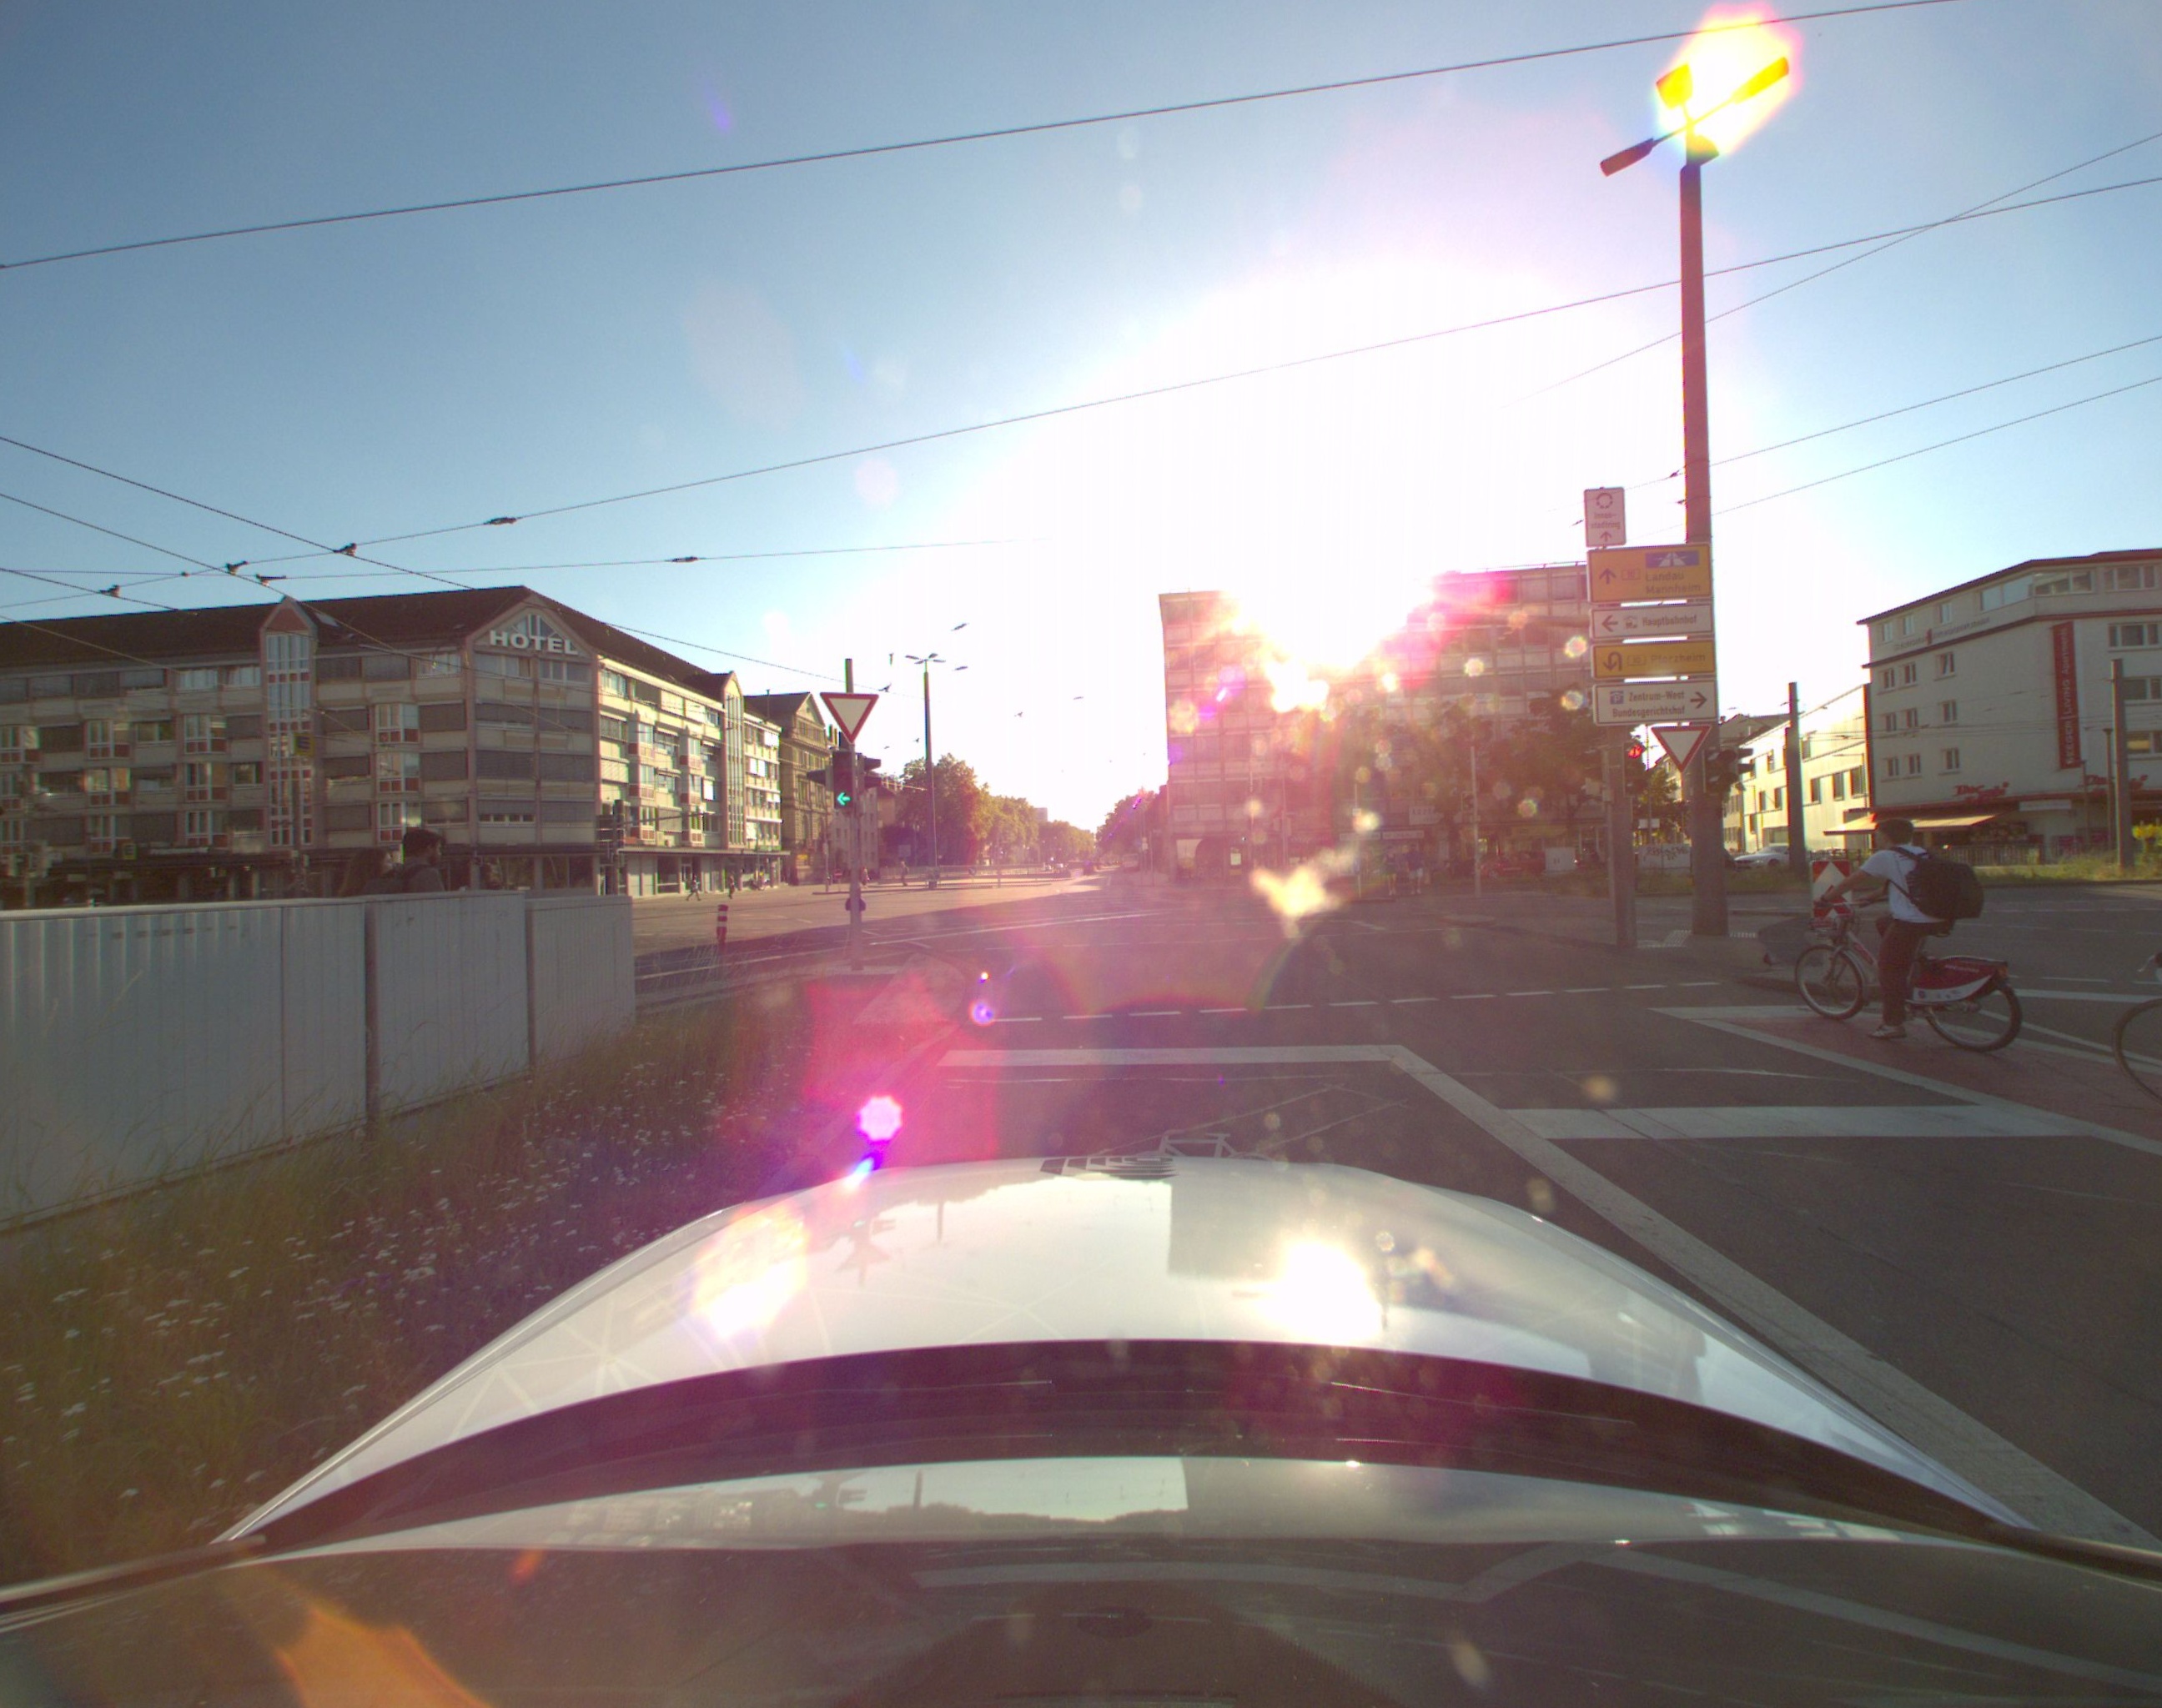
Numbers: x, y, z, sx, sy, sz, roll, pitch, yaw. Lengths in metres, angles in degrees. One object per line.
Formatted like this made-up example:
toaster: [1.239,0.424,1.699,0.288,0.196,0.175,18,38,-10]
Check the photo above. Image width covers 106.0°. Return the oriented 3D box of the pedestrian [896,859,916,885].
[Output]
pedestrian: [-11.666,1.205,54.233,1.191,1.731,0.855,0,-1,-3]

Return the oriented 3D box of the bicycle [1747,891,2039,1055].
bicycle: [6.562,0.892,6.741,0.540,1.101,1.807,0,-1,-3]

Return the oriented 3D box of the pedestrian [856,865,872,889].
pedestrian: [-13.840,1.494,52.014,0.858,1.465,0.680,0,-6,-27]

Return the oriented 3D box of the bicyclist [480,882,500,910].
bicyclist: [-34.828,2.489,48.029,0.636,1.596,0.659,0,2,5]

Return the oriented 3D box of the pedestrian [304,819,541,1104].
pedestrian: [-4.617,0.681,5.779,0.779,1.800,0.905,1,6,20]

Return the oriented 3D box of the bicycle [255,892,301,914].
bicycle: [-49.450,3.009,50.168,2.312,1.227,0.731,-2,-1,7]

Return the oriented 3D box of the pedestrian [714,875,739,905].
pedestrian: [-23.119,2.335,53.161,1.191,1.883,0.856,0,4,-3]

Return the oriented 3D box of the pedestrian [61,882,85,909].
pedestrian: [-62.839,2.556,50.753,0.545,1.645,0.755,-1,0,12]

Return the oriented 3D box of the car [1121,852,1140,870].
car: [6.347,0.912,103.779,2.275,2.172,4.838,0,-1,4]

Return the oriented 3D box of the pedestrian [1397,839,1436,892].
pedestrian: [11.674,0.393,28.362,0.700,1.793,1.030,0,-1,-36]

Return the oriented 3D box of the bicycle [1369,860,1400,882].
bicycle: [18.194,1.004,48.904,0.748,1.143,2.637,0,2,-4]

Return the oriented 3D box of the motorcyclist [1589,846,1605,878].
motorcyclist: [24.832,0.399,39.171,0.458,1.509,0.536,-1,-1,7]

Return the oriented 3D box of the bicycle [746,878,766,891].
bicycle: [-29.633,2.776,74.225,0.447,1.071,2.102,-1,-1,19]

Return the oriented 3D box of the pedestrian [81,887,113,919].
pedestrian: [-51.126,2.536,42.311,0.680,1.660,0.780,0,-1,-4]

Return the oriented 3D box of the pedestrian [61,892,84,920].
pedestrian: [-64.756,3.316,52.275,0.671,1.778,0.825,-1,-1,32]

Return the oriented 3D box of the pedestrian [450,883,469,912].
pedestrian: [-36.451,2.550,47.760,0.717,1.662,0.629,-2,-1,-22]

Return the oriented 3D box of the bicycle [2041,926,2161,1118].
bicycle: [6.180,0.933,4.140,0.540,1.001,1.692,0,-1,-3]

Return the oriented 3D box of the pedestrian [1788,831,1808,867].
pedestrian: [40.885,-0.268,46.428,0.620,2.014,0.719,-1,-1,23]

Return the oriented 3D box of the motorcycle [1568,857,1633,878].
motorcycle: [24.960,0.652,39.152,2.648,1.001,0.536,0,-1,6]

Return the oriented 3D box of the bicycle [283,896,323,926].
bicycle: [-41.396,3.021,43.365,0.583,1.366,2.085,-1,1,-15]

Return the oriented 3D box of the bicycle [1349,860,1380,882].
bicycle: [17.001,1.003,48.887,0.748,1.143,2.637,0,2,-4]

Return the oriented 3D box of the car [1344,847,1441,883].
car: [14.745,0.525,38.669,3.966,1.618,1.847,0,-1,6]

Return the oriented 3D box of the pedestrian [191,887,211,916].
pedestrian: [-56.217,3.033,52.042,0.598,1.852,0.613,-1,-1,12]

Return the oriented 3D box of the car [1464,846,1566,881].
car: [20.939,0.463,39.430,3.966,1.618,1.847,0,-1,6]

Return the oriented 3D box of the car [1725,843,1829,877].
car: [34.546,0.302,40.456,3.988,1.618,1.837,0,-1,-11]

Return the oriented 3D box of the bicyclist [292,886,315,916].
bicyclist: [-41.399,2.498,43.393,0.565,1.481,0.734,-1,1,-14]

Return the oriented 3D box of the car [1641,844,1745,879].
car: [29.400,0.350,39.170,3.991,1.618,1.836,0,-1,-13]

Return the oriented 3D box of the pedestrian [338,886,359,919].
pedestrian: [-39.535,2.613,43.955,0.625,1.694,0.859,0,-1,-30]

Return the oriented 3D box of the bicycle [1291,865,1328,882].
bicycle: [13.433,1.141,47.874,2.017,0.940,0.671,0,-1,0]

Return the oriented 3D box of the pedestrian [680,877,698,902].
pedestrian: [-24.215,2.188,50.310,0.703,1.453,0.855,0,-1,-3]

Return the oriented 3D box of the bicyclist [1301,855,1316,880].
bicyclist: [13.379,0.783,47.879,0.677,1.424,0.671,0,-1,1]

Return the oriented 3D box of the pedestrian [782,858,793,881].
pedestrian: [-31.151,1.679,86.378,0.926,2.398,0.958,0,-1,-9]

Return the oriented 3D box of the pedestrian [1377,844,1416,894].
pedestrian: [10.881,0.510,28.125,0.700,1.682,1.030,0,-1,-36]

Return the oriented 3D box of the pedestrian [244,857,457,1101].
pedestrian: [-5.399,0.853,6.059,0.779,1.640,0.905,-1,-1,21]

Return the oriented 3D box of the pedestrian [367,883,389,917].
pedestrian: [-38.232,2.484,44.287,0.510,1.764,0.999,0,-1,-18]

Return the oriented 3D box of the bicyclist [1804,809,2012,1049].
bicyclist: [6.582,0.555,6.546,0.540,1.768,1.059,0,-1,-3]

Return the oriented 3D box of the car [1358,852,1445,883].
car: [17.320,0.749,44.164,4.046,1.618,1.847,0,-1,6]

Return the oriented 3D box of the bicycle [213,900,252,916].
bicycle: [-52.449,3.350,50.342,2.060,0.917,0.502,-2,-1,7]
